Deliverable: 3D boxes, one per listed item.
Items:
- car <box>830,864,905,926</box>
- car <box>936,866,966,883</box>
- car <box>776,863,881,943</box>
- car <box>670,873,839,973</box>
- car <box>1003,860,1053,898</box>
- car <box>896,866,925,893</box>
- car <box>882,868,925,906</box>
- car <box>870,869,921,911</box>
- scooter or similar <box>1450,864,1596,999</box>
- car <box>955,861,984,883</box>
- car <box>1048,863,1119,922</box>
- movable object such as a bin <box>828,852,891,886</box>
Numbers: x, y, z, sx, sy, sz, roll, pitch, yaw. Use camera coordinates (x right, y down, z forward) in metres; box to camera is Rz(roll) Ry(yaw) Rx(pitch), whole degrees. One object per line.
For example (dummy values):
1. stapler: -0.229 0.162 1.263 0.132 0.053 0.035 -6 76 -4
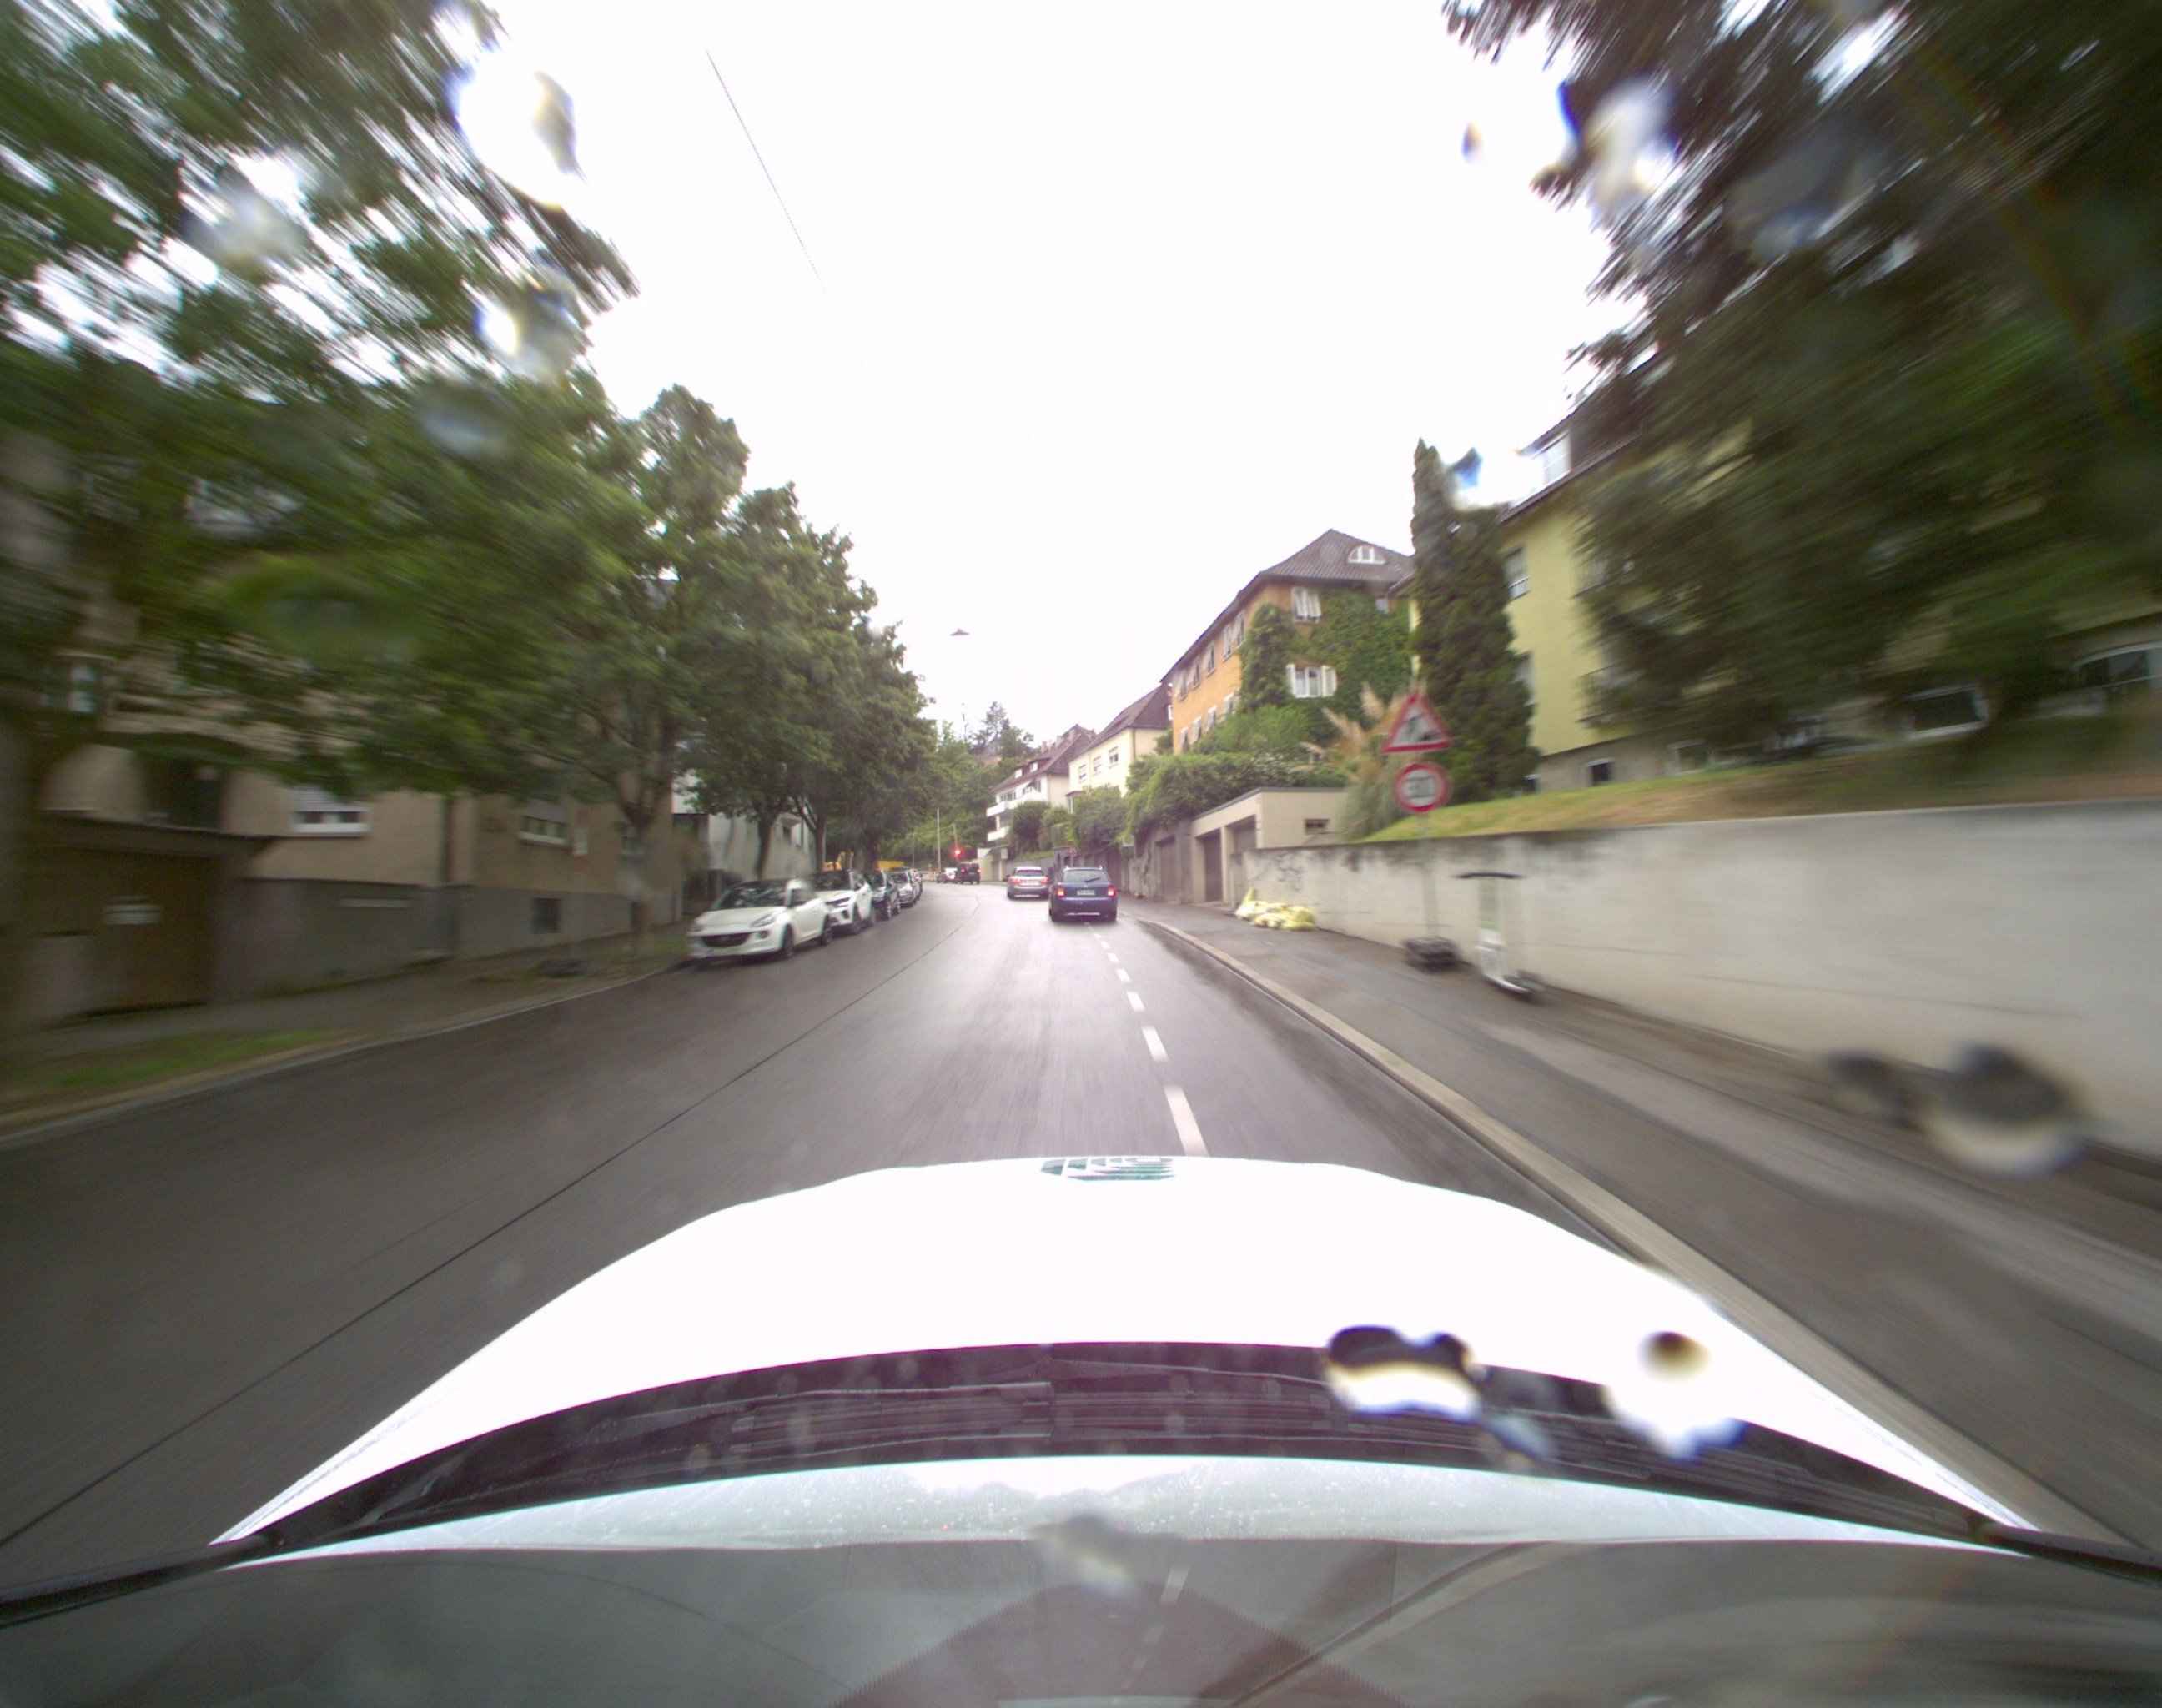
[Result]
1. car: -6.686 1.254 25.846 1.616 1.658 3.914 -5 -1 -7
2. car: -12.084 1.905 75.343 1.729 1.486 4.043 -2 0 -24
3. car: -6.273 1.166 20.659 1.590 1.658 3.915 -6 -1 -6
4. car: -6.112 1.215 15.723 1.613 1.471 3.668 -7 -1 0
5. car: -2.501 1.120 37.697 1.926 1.618 4.306 0 -1 -9
6. car: -10.681 1.602 51.103 1.556 1.488 4.081 -5 -1 -12
7. car: -8.079 1.458 37.245 1.574 1.488 3.459 -5 0 -9
8. car: -7.559 1.430 33.386 1.617 1.470 3.960 -4 -1 -8
9. scooter or similar: 4.142 0.679 7.752 0.596 1.133 1.370 -3 -1 0
10. car: -9.618 1.554 70.091 1.997 1.794 3.979 -2 0 -15
11. car: 0.042 0.996 22.607 1.780 1.442 3.962 -1 -1 -1
12. movable object such as a bin: -27.270 1.819 100.157 7.237 4.014 2.844 -1 -1 24
